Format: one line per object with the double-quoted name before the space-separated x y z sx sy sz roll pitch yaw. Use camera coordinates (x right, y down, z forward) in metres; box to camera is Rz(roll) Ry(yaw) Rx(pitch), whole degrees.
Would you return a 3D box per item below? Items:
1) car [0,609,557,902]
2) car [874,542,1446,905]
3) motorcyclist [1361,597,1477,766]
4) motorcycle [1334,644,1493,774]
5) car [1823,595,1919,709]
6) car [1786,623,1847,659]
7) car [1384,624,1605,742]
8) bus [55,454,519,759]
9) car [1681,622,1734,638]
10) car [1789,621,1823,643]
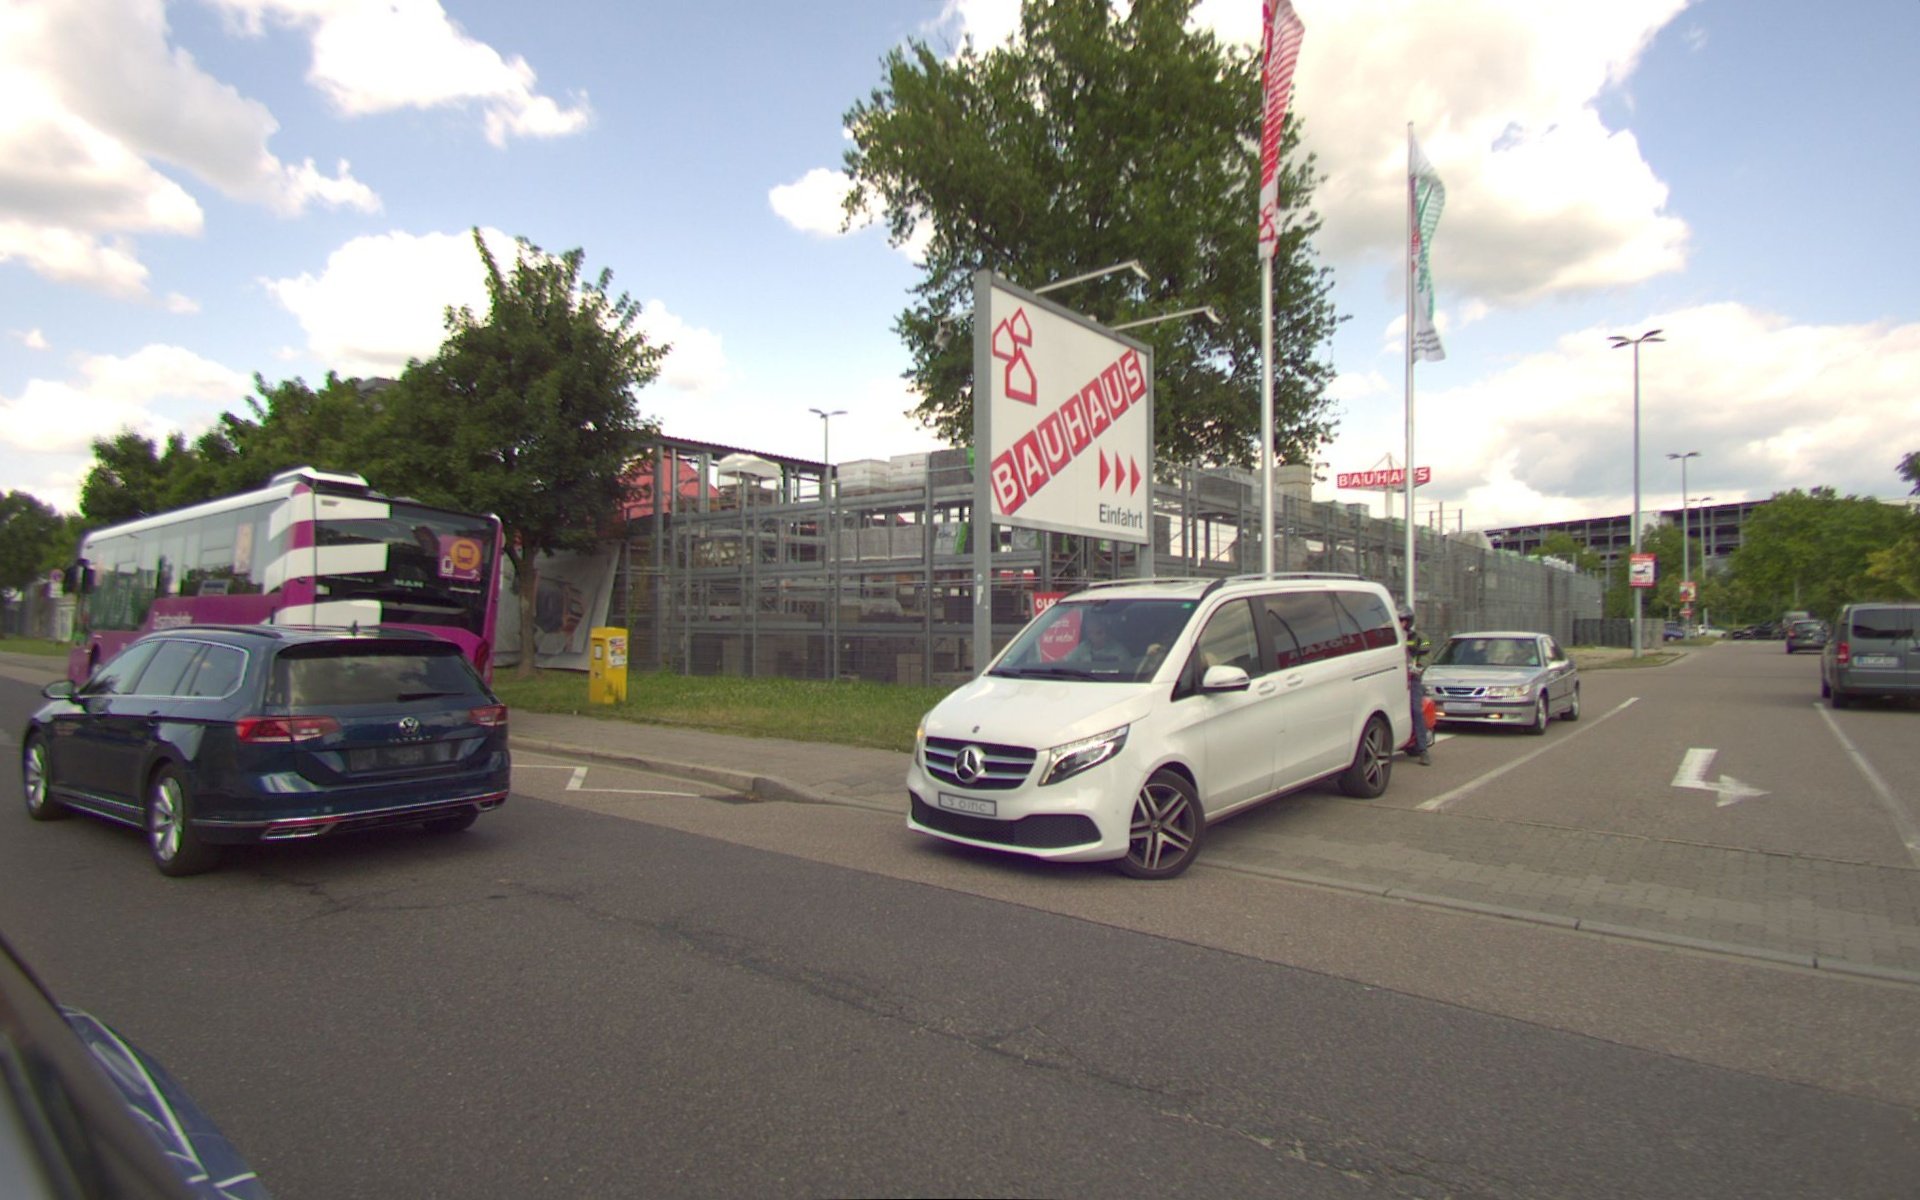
"car" -4.948 0.852 7.093 4.373 1.470 1.781 -1 -3 34
"car" 1.853 0.716 7.952 4.943 1.964 1.993 1 -2 -45
"motorcyclist" 5.005 0.857 11.043 0.994 1.736 0.667 -1 -3 41
"motorcycle" 4.940 1.098 10.936 0.994 1.223 2.198 -1 -2 40
"car" 16.995 0.888 18.281 2.109 1.859 4.496 -1 -2 41
"car" 40.289 1.884 47.692 1.997 1.623 4.083 -1 -2 38
"car" 8.136 1.109 15.186 1.953 1.465 4.635 -1 -2 41
"bus" -11.839 0.263 16.718 13.208 3.449 2.636 -1 -5 40
"car" 72.518 2.904 98.210 4.112 1.468 1.851 -1 -2 38
"car" 67.791 2.548 81.070 1.971 1.640 4.062 -1 -2 41
